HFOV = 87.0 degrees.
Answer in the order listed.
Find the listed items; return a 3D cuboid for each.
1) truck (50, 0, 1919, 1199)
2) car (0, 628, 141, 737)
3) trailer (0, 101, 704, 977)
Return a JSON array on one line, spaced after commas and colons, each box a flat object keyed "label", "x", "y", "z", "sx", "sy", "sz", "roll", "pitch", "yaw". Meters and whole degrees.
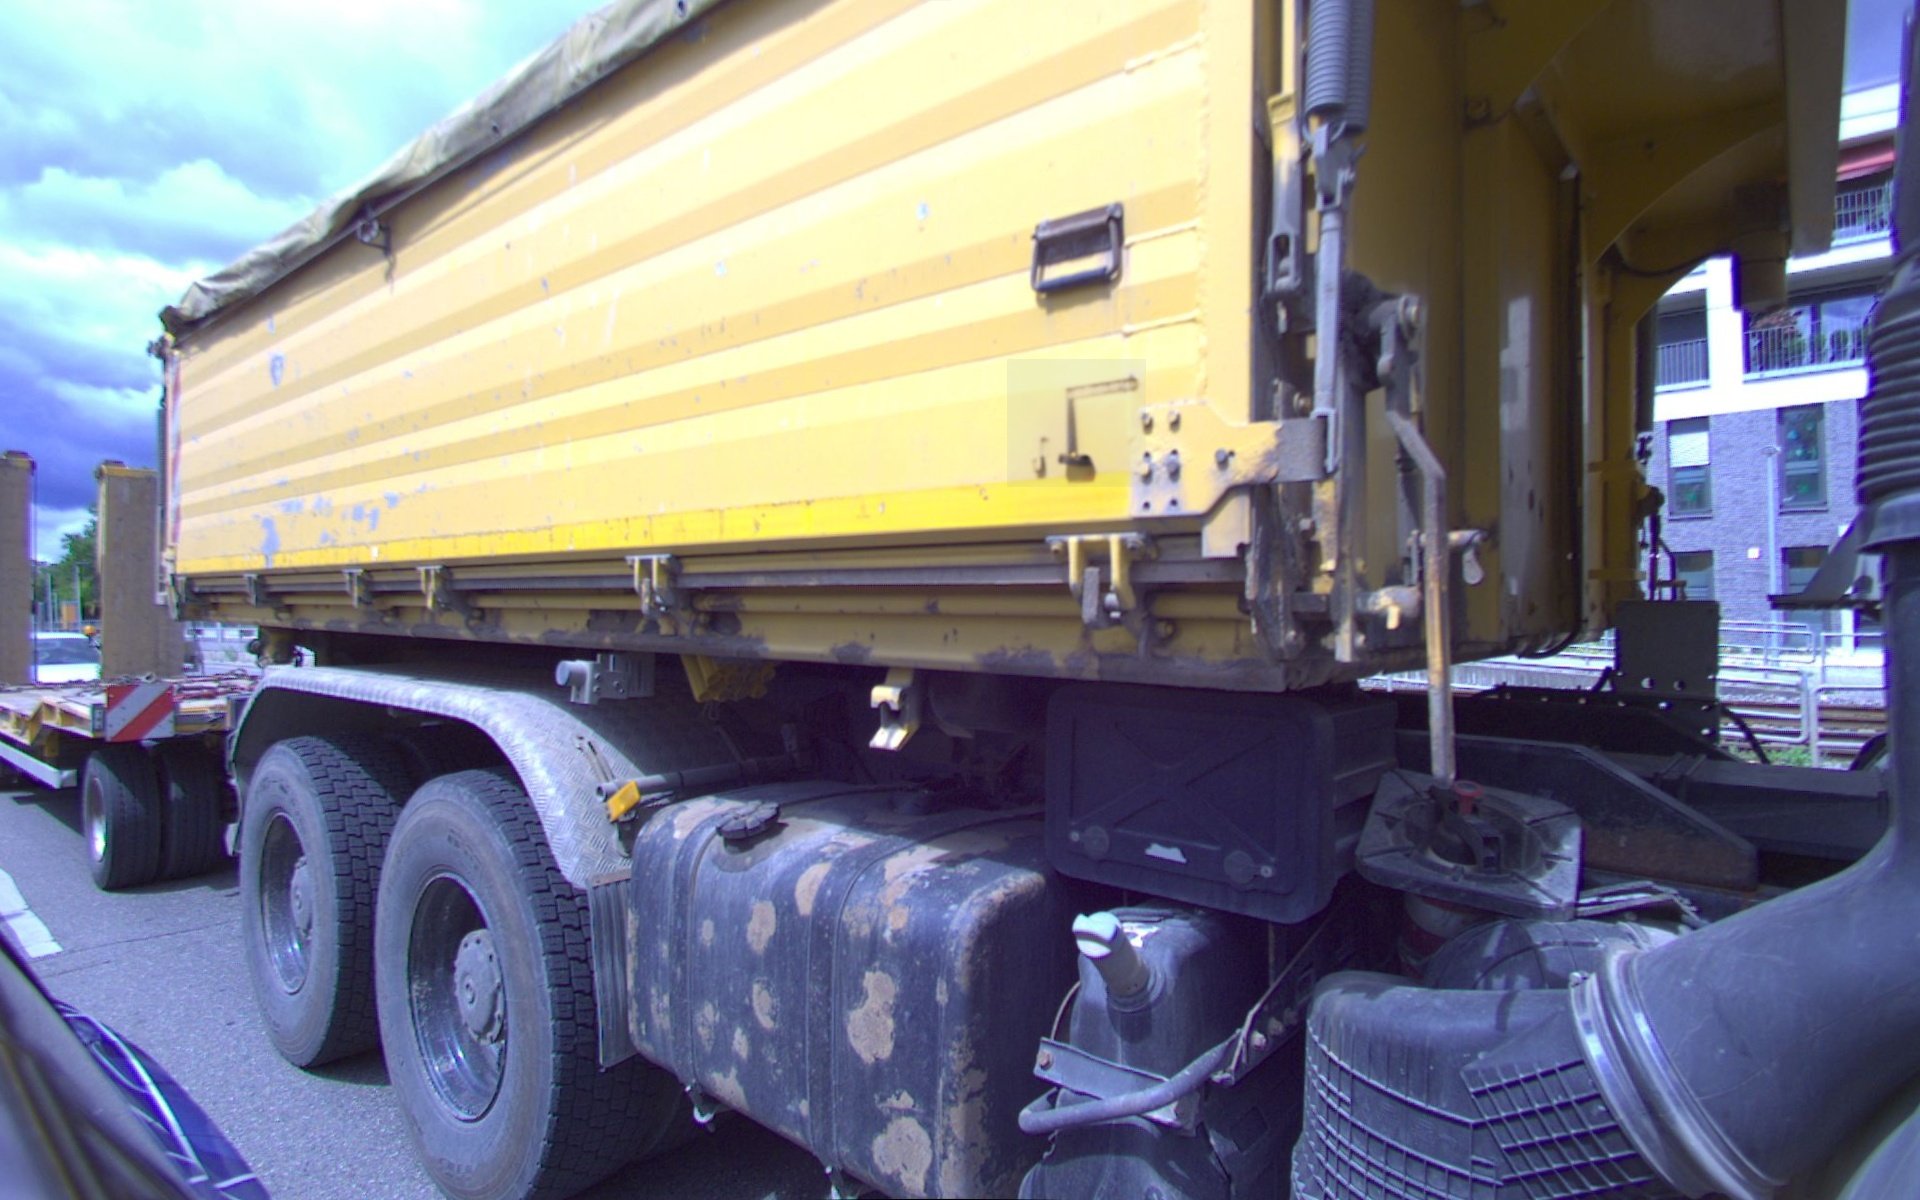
[{"label": "truck", "x": 0.155, "y": -0.226, "z": 2.891, "sx": 7.999, "sy": 3.420, "sz": 3.019, "roll": -2, "pitch": -1, "yaw": 40}, {"label": "car", "x": -13.969, "y": 1.171, "z": 15.381, "sx": 3.784, "sy": 1.427, "sz": 1.761, "roll": -2, "pitch": -1, "yaw": 41}, {"label": "trailer", "x": -6.844, "y": -0.141, "z": 9.012, "sx": 10.957, "sy": 3.726, "sz": 3.018, "roll": -2, "pitch": -1, "yaw": 40}]
